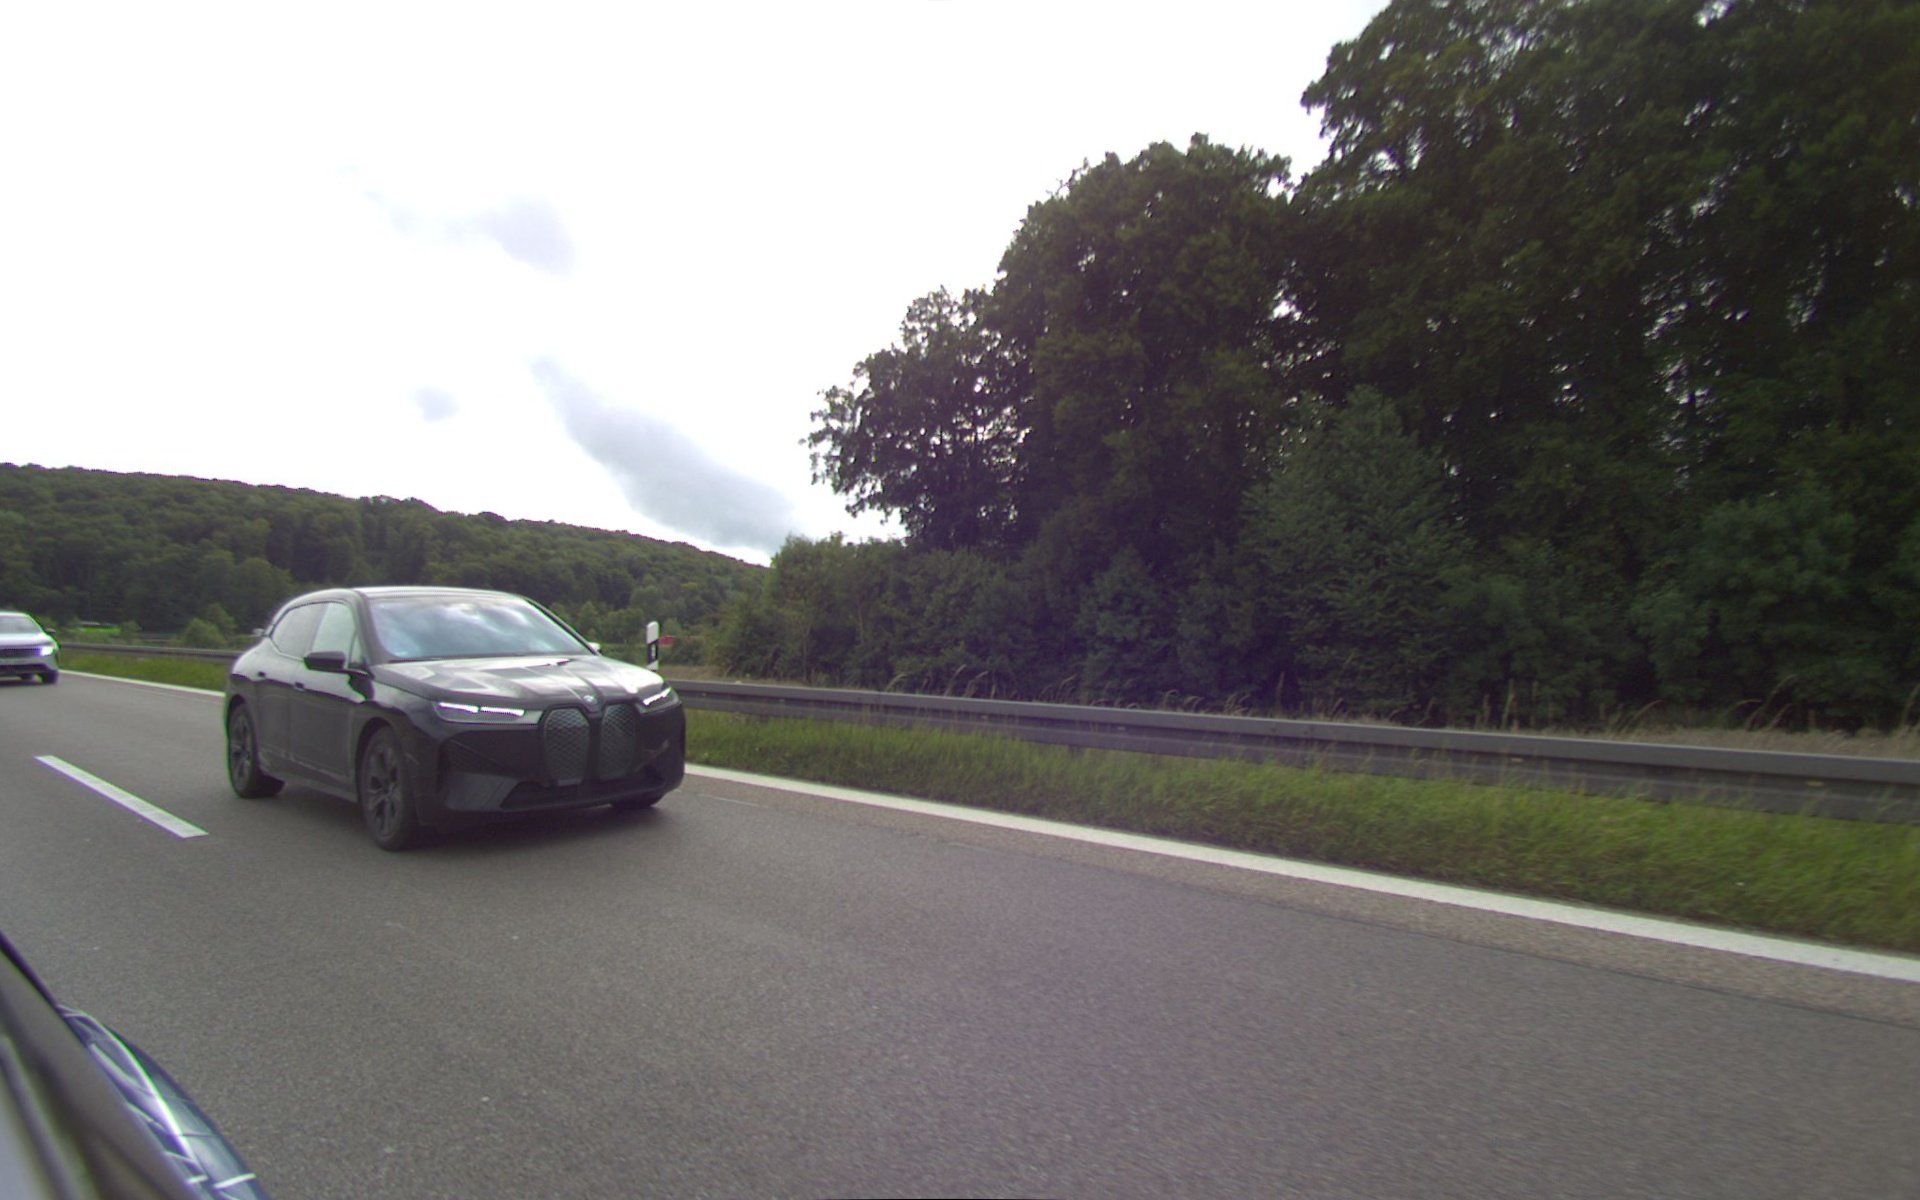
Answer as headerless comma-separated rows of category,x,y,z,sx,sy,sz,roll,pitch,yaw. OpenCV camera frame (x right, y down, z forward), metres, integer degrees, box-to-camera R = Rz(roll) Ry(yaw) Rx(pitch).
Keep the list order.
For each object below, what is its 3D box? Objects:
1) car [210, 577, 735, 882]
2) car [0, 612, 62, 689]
car,-3.903,0.768,7.758,4.410,1.678,1.974,-2,-2,40
car,-22.492,1.170,23.433,4.412,1.678,1.973,-3,-3,41
